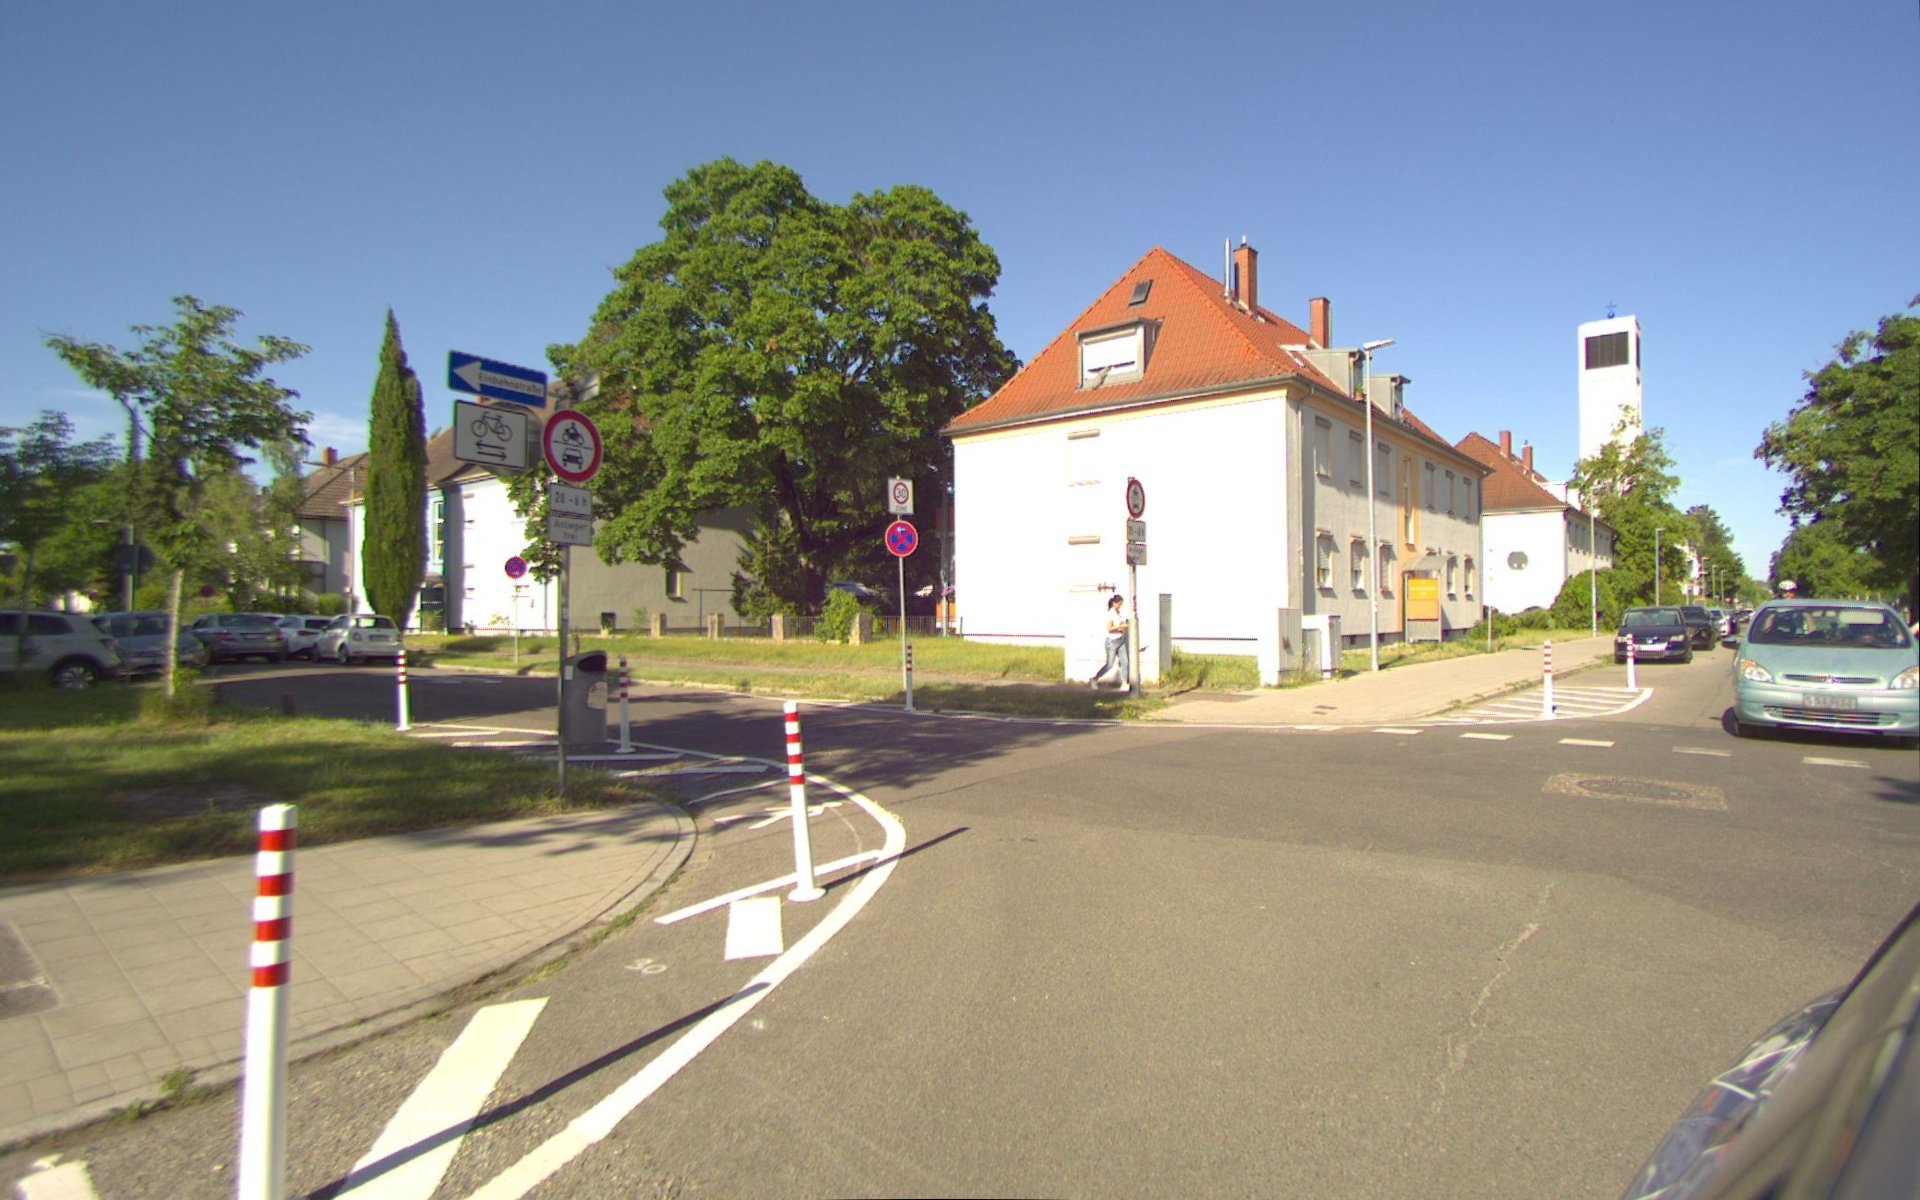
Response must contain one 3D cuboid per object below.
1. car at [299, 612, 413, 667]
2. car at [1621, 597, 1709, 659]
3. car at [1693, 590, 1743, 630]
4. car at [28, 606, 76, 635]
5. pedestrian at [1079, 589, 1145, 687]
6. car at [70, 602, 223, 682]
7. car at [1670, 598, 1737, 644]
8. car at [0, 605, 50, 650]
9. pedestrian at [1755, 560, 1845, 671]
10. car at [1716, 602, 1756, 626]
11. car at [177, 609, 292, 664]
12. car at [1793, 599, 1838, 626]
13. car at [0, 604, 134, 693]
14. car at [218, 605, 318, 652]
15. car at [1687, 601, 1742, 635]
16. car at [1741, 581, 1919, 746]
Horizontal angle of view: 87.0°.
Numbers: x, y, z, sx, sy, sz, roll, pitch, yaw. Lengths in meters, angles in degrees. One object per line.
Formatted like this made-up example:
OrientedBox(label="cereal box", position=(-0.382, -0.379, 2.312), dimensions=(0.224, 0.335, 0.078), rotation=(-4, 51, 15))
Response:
OrientedBox(label="car", position=(-17.894, 1.107, 29.937), dimensions=(3.705, 1.498, 1.715), rotation=(0, 0, 38))
OrientedBox(label="car", position=(20.470, 0.751, 29.326), dimensions=(1.714, 1.685, 4.005), rotation=(-1, 0, 40))
OrientedBox(label="car", position=(39.579, 0.510, 52.798), dimensions=(1.863, 2.039, 4.194), rotation=(-1, -1, 40))
OrientedBox(label="car", position=(-59.776, 1.311, 66.603), dimensions=(3.980, 1.864, 1.834), rotation=(0, 0, 40))
OrientedBox(label="pedestrian", position=(2.612, 0.642, 17.426), dimensions=(0.831, 1.631, 0.756), rotation=(-1, -1, 45))
OrientedBox(label="car", position=(-19.565, 0.939, 24.307), dimensions=(3.978, 1.629, 1.974), rotation=(0, 3, 38))
OrientedBox(label="car", position=(27.497, 0.718, 37.373), dimensions=(1.714, 1.603, 4.080), rotation=(-1, 0, 40))
OrientedBox(label="car", position=(-37.405, 1.060, 39.601), dimensions=(3.978, 1.629, 1.974), rotation=(0, 3, 38))
OrientedBox(label="pedestrian", position=(13.616, 0.243, 16.439), dimensions=(1.047, 1.731, 0.684), rotation=(-1, -1, 36))
OrientedBox(label="car", position=(46.628, 0.833, 60.803), dimensions=(1.714, 1.359, 3.753), rotation=(0, 0, 40))
OrientedBox(label="car", position=(-20.735, 0.989, 28.890), dimensions=(3.983, 1.460, 1.814), rotation=(-1, -2, 41))
OrientedBox(label="car", position=(44.234, 0.633, 52.332), dimensions=(1.714, 1.359, 3.753), rotation=(-1, 0, 40))
OrientedBox(label="car", position=(-17.852, 0.867, 18.347), dimensions=(1.831, 1.584, 4.149), rotation=(-1, -1, 37))
OrientedBox(label="car", position=(-25.410, 0.997, 37.117), dimensions=(3.978, 1.630, 1.972), rotation=(0, 0, 38))
OrientedBox(label="car", position=(33.840, 0.780, 45.354), dimensions=(1.714, 1.460, 4.080), rotation=(-1, 0, 40))
OrientedBox(label="car", position=(10.530, 0.627, 11.942), dimensions=(1.880, 1.629, 4.185), rotation=(-1, 0, 41))
